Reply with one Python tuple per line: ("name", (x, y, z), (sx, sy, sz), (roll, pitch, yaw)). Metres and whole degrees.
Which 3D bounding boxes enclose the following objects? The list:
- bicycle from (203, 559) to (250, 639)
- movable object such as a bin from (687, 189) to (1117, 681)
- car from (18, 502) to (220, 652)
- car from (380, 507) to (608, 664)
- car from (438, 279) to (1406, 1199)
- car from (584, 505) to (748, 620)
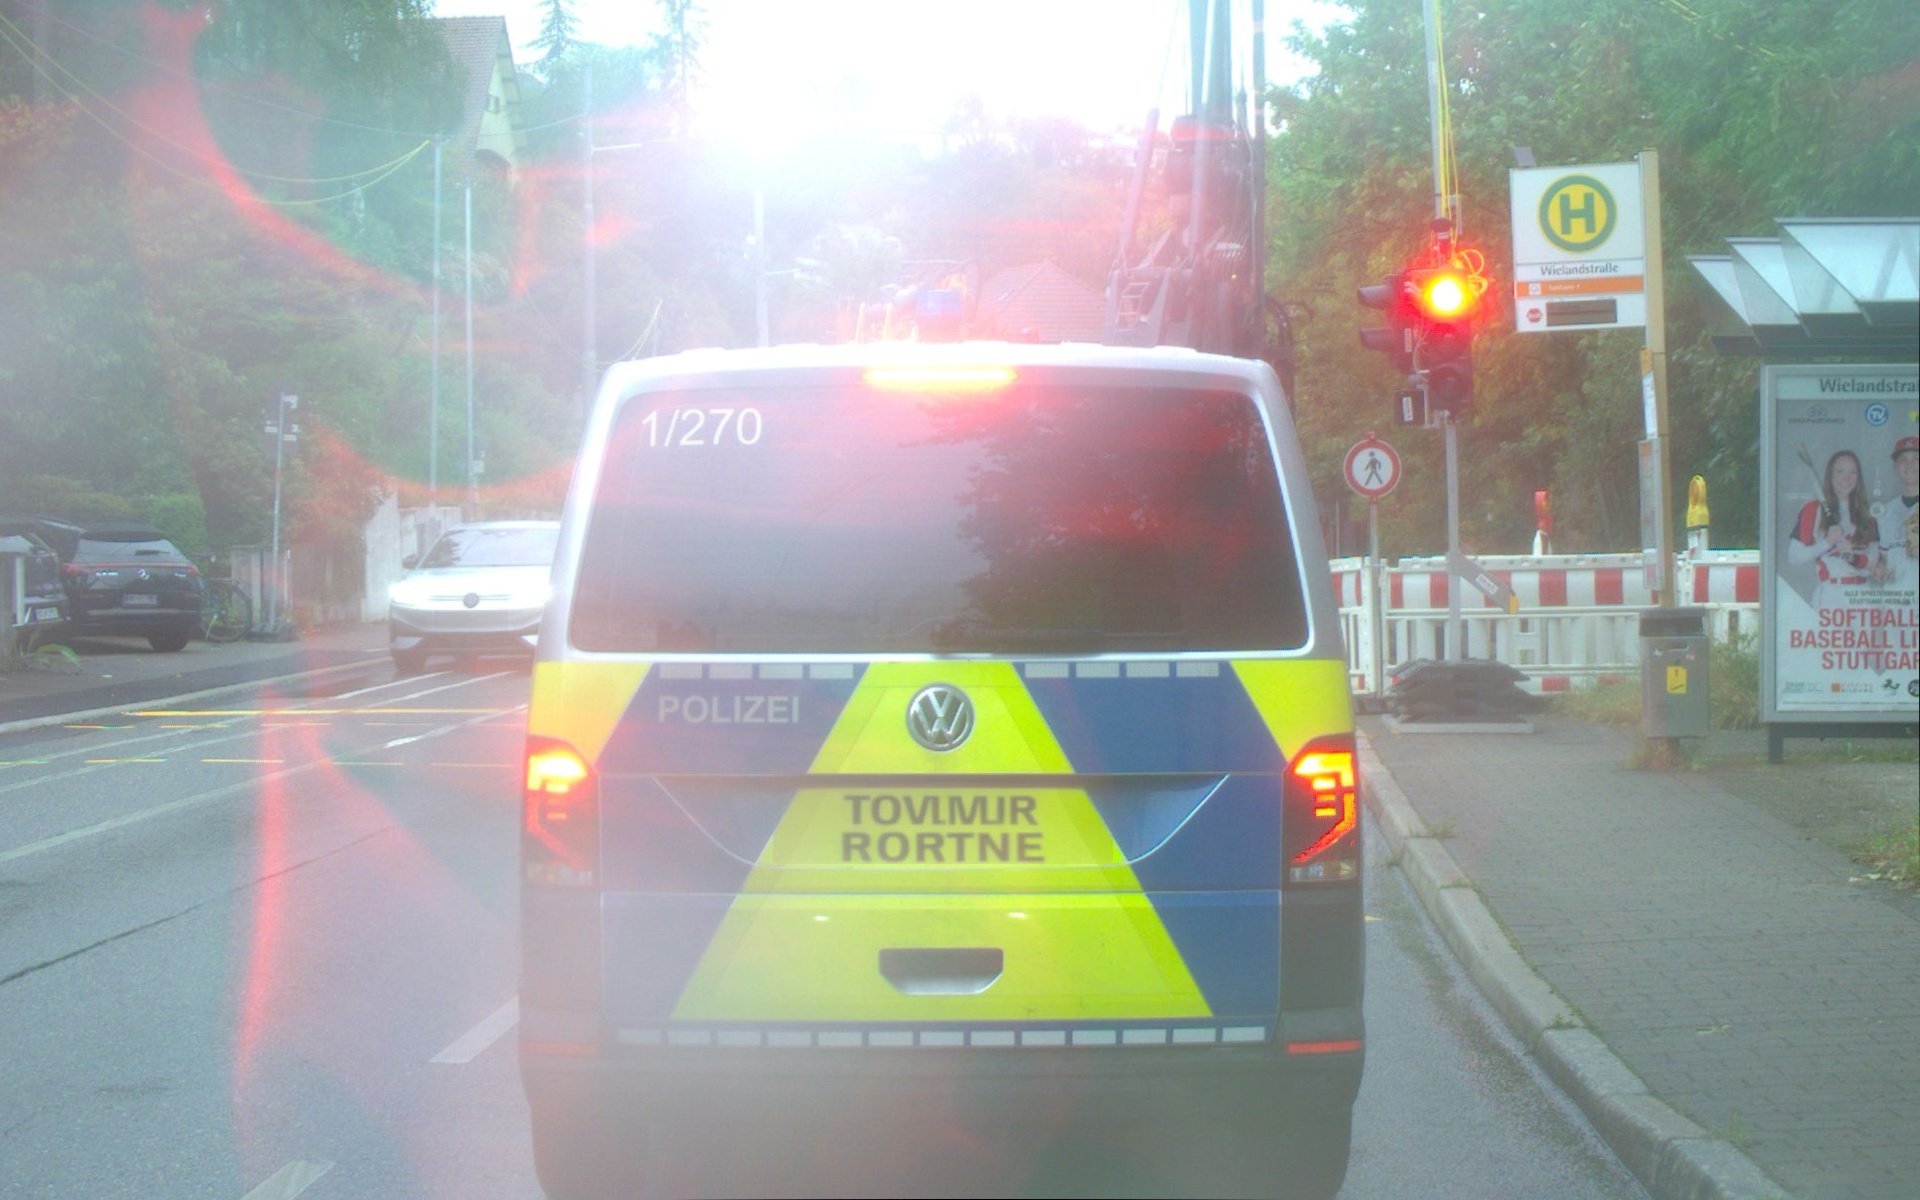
("bicycle", (-8.450, -0.023, 39.578), (0.462, 0.894, 1.634), (0, 1, -15))
("movable object such as a bin", (-0.428, -1.461, 31.617), (2.832, 4.163, 4.378), (1, 1, 15))
("car", (-9.331, -0.283, 37.960), (1.765, 1.481, 3.743), (1, 3, -20))
("car", (-4.838, -0.164, 36.267), (1.853, 1.522, 4.820), (1, 1, -2))
("car", (-0.100, 0.358, 8.817), (1.893, 2.043, 4.000), (1, 1, -1))
("car", (-4.343, -0.570, 51.325), (1.867, 1.616, 4.164), (1, 1, 3))
